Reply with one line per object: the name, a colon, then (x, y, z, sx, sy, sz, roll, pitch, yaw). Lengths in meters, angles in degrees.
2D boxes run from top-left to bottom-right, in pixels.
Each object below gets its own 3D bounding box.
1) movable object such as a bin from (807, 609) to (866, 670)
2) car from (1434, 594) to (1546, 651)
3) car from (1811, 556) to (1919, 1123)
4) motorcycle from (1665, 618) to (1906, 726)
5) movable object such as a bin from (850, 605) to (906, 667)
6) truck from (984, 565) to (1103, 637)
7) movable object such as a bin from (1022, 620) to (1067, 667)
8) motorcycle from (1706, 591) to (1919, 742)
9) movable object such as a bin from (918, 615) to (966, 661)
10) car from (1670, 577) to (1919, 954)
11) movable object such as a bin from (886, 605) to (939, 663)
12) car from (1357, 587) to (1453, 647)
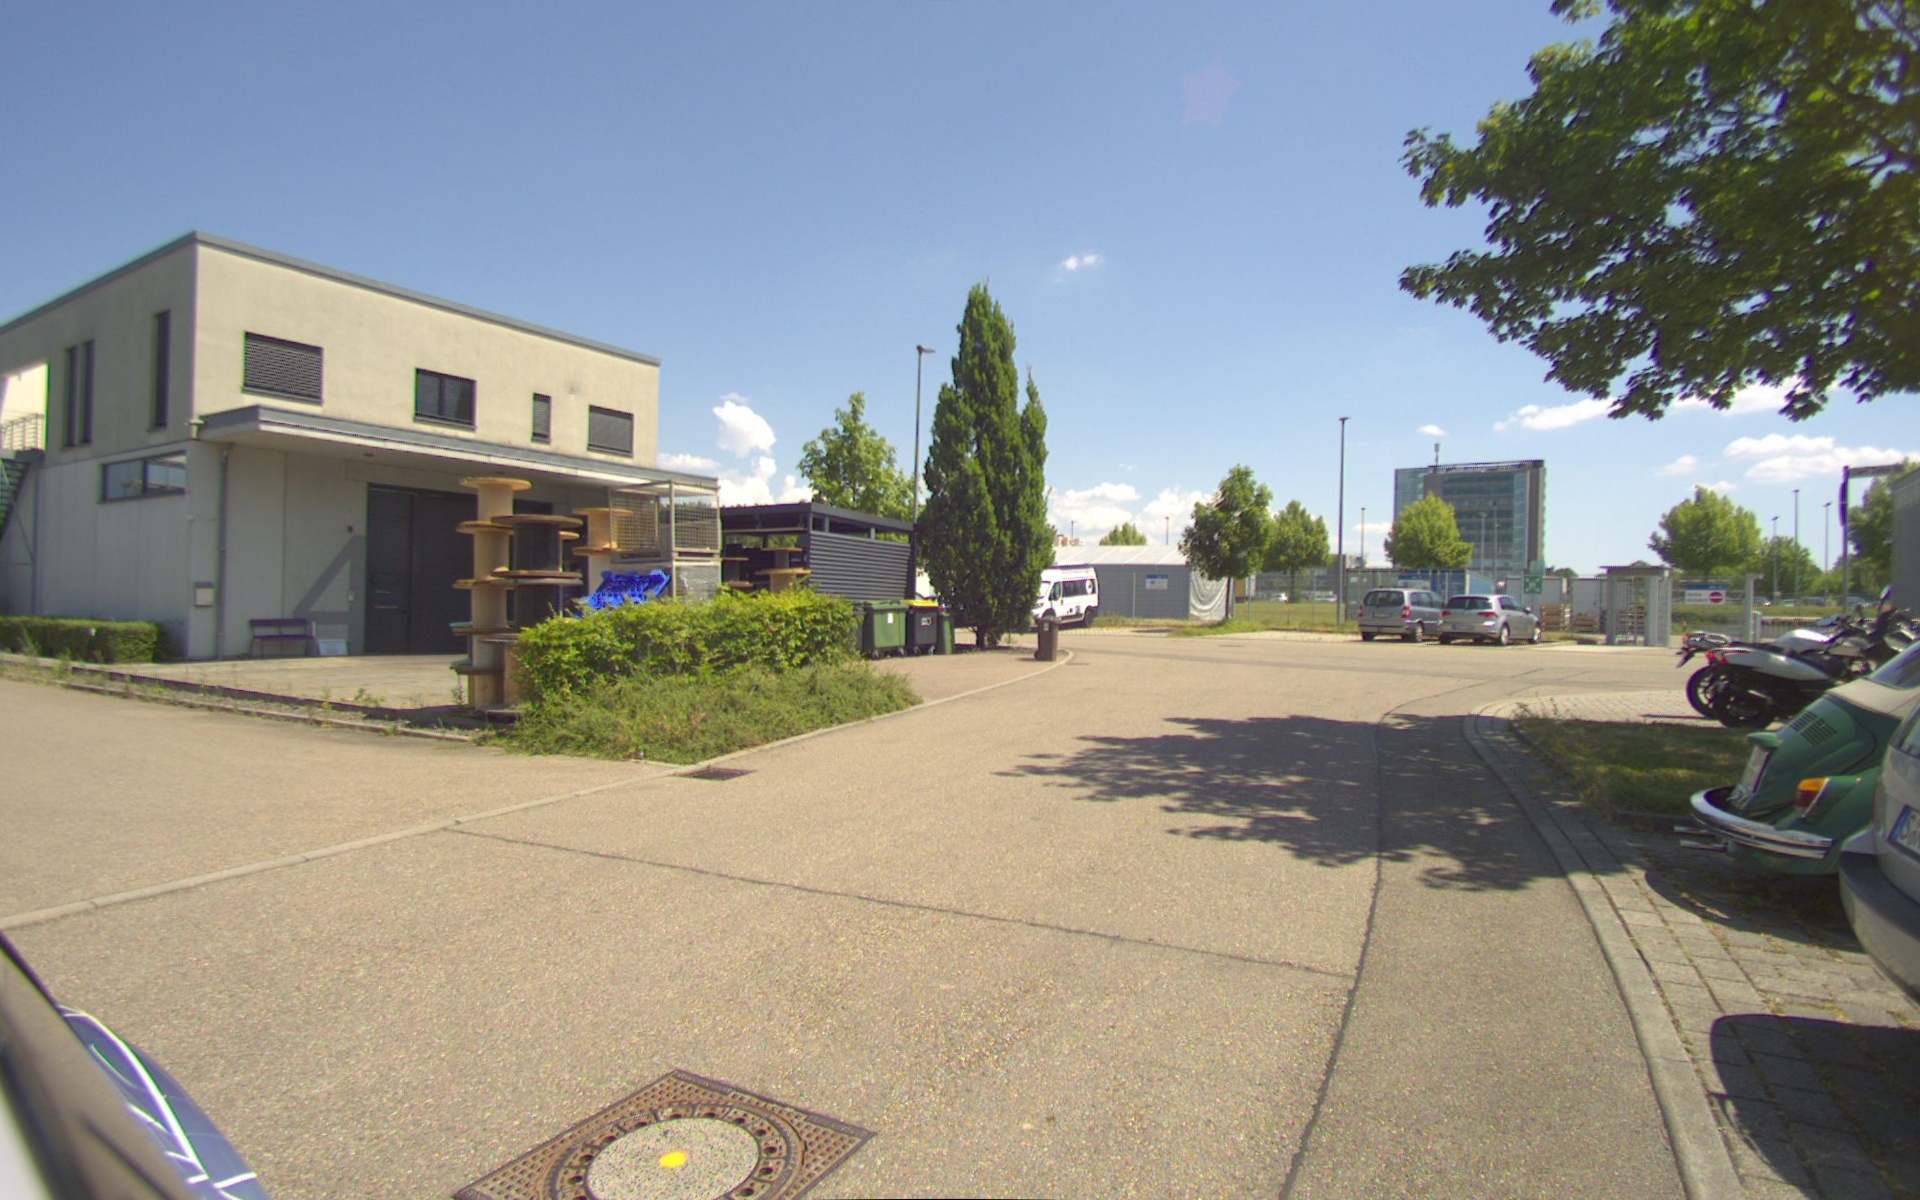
movable object such as a bin: (-2.699, 0.850, 22.199, 0.759, 1.280, 1.059, 0, 0, 38)
car: (15.386, 0.598, 29.314, 3.939, 1.533, 1.655, 0, 0, -42)
car: (4.270, 0.633, 1.828, 3.871, 1.490, 1.638, 0, 0, 26)
motorcycle: (9.030, 0.758, 11.164, 1.979, 1.117, 0.480, 0, 0, 26)
movable object such as a bin: (-1.873, 0.800, 23.085, 0.759, 1.346, 1.059, 0, 0, 38)
truck: (3.470, 0.042, 41.082, 2.412, 2.692, 5.633, 0, 0, 34)
movable object such as a bin: (1.813, 0.928, 21.747, 0.759, 0.977, 0.582, 0, 0, 39)
motorcycle: (8.533, 0.620, 9.840, 1.979, 1.400, 0.480, 0, 0, 26)
movable object such as a bin: (-0.442, 0.922, 25.046, 0.759, 1.092, 0.975, 0, 0, 38)
car: (5.329, 0.641, 4.023, 3.871, 1.459, 1.638, 0, 0, 26)
movable object such as a bin: (-1.139, 0.792, 24.204, 0.759, 1.346, 1.059, 0, 0, 38)
car: (13.785, 0.480, 31.246, 1.771, 1.751, 3.948, 0, 0, 39)
